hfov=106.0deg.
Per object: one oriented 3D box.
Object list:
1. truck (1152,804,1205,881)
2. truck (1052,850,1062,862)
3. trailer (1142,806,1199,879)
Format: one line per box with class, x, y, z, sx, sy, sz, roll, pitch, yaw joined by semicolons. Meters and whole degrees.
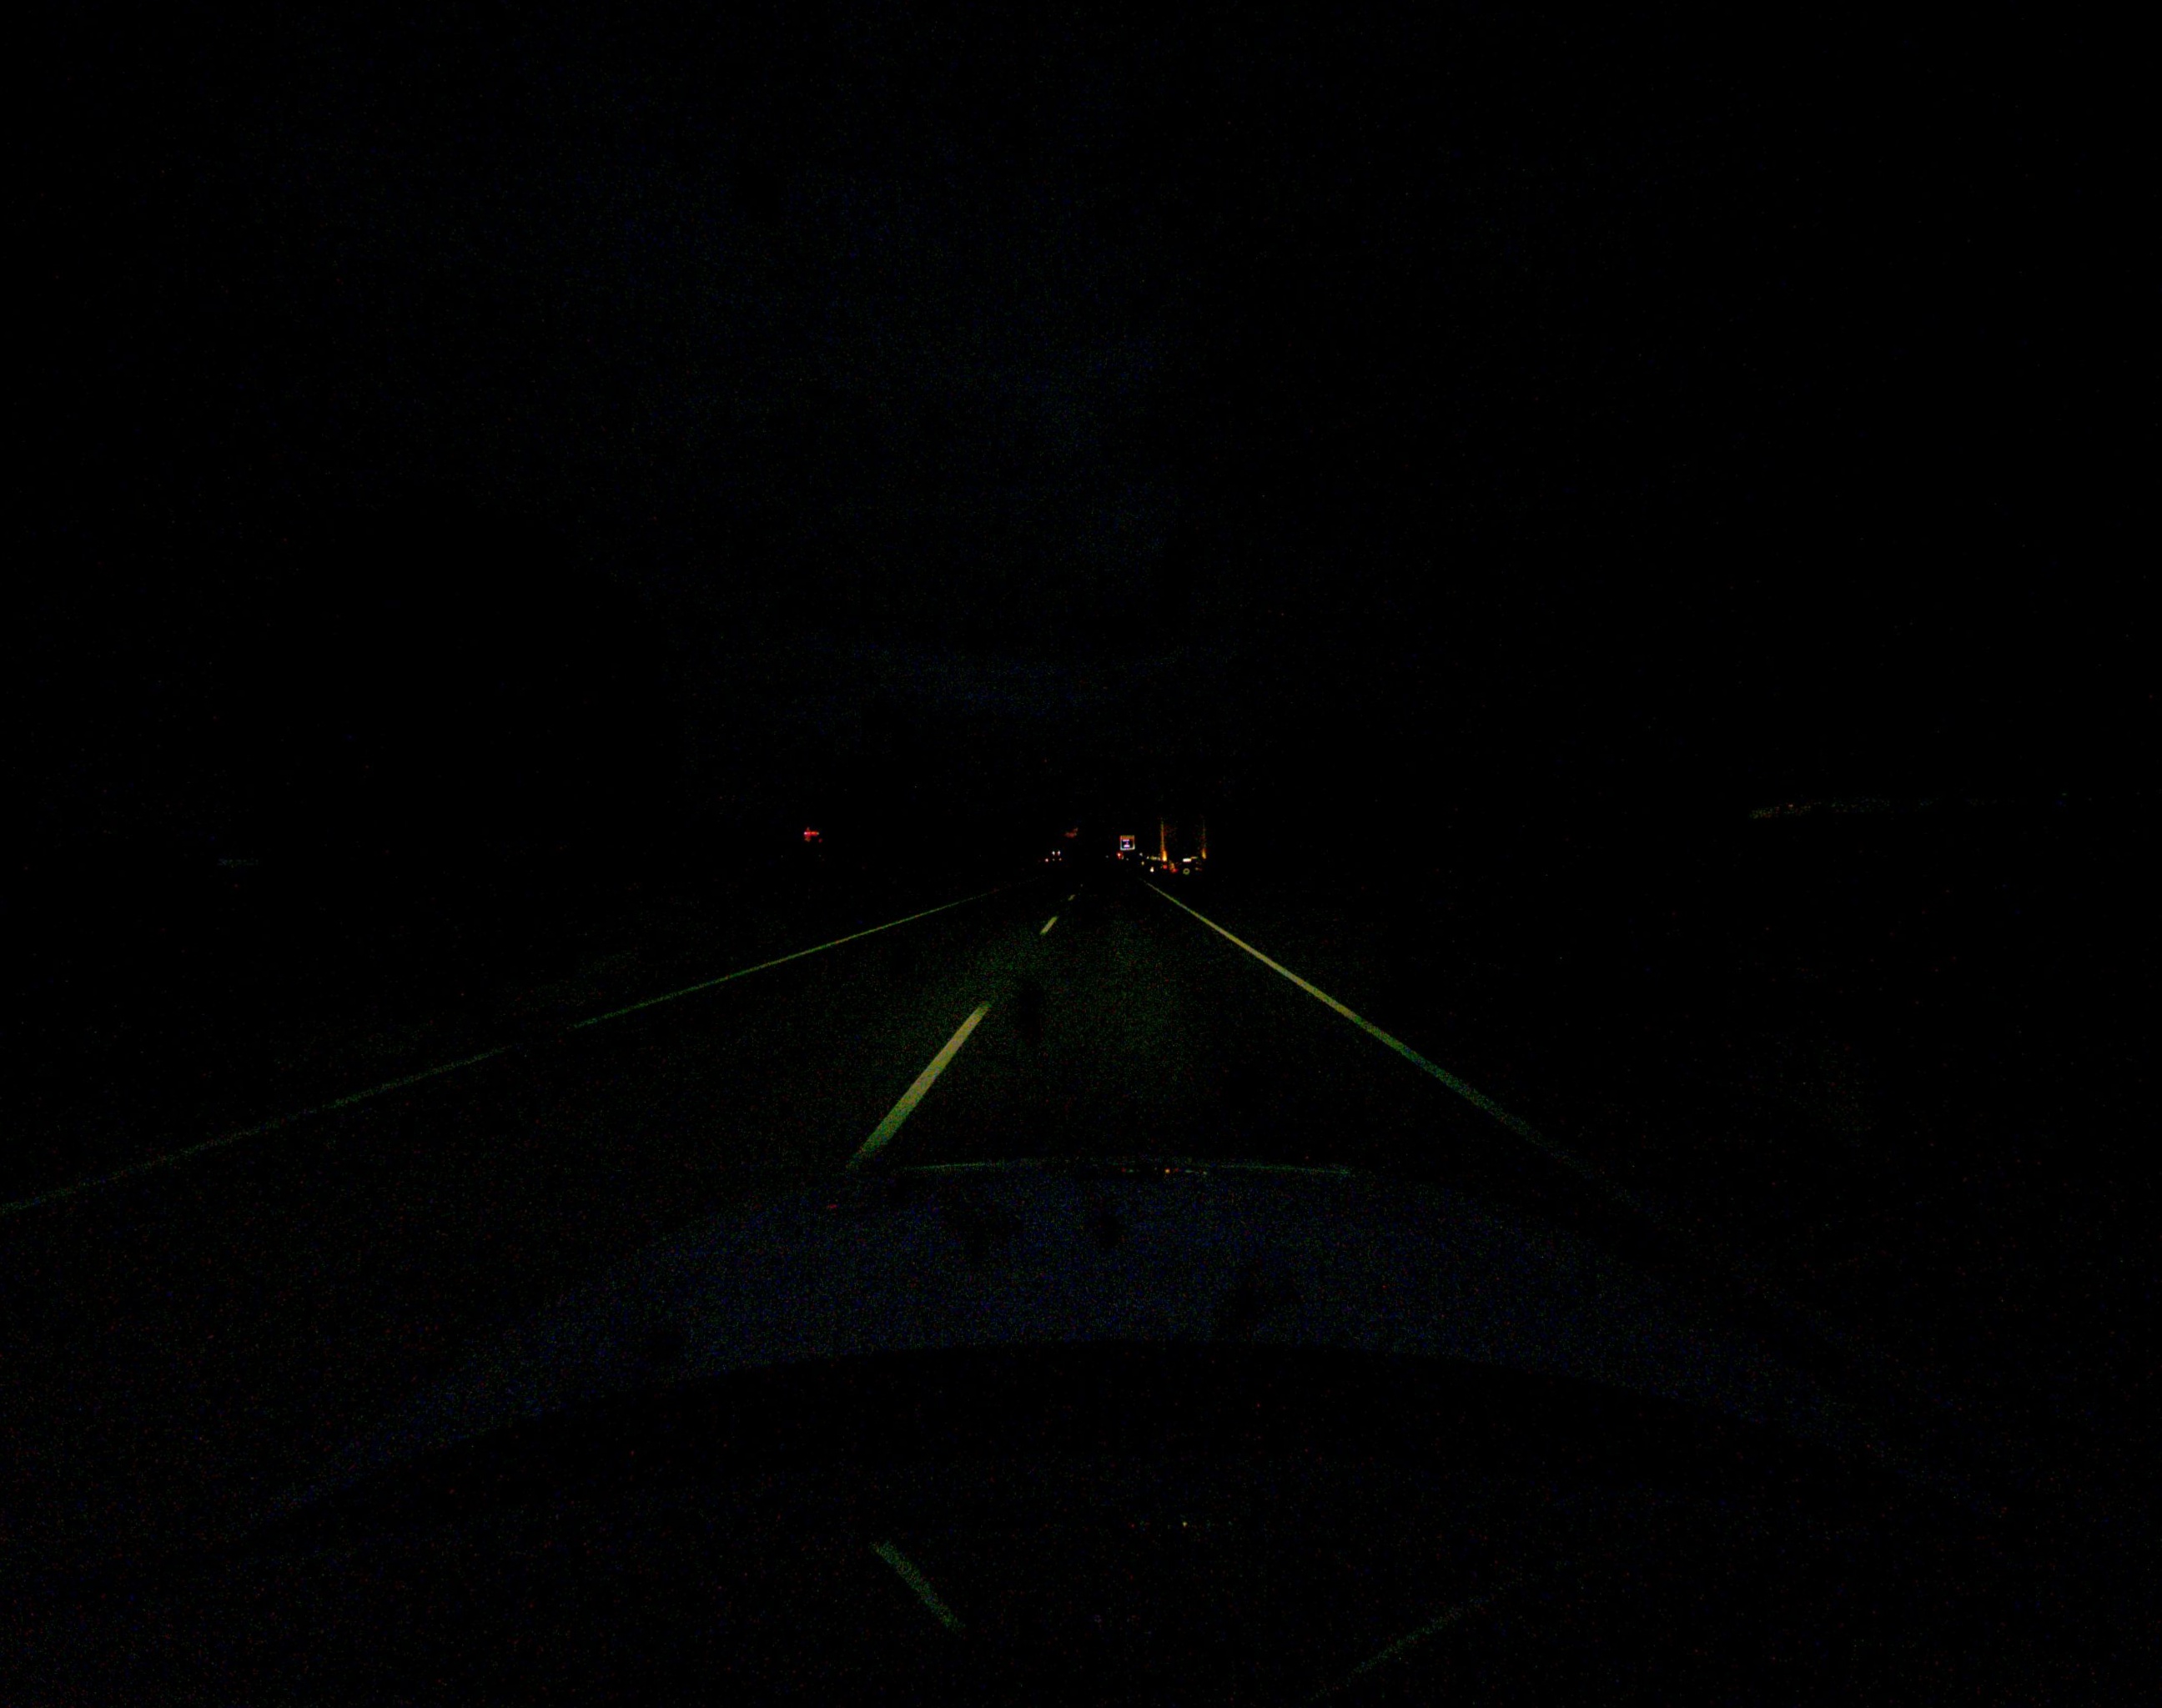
truck;5.393;-0.624;45.880;2.569;4.071;6.134;0;0;3
truck;-7.240;0.684;246.383;2.210;3.445;6.719;0;-1;3
trailer;5.616;-0.633;53.231;2.612;4.104;12.942;-2;0;2
